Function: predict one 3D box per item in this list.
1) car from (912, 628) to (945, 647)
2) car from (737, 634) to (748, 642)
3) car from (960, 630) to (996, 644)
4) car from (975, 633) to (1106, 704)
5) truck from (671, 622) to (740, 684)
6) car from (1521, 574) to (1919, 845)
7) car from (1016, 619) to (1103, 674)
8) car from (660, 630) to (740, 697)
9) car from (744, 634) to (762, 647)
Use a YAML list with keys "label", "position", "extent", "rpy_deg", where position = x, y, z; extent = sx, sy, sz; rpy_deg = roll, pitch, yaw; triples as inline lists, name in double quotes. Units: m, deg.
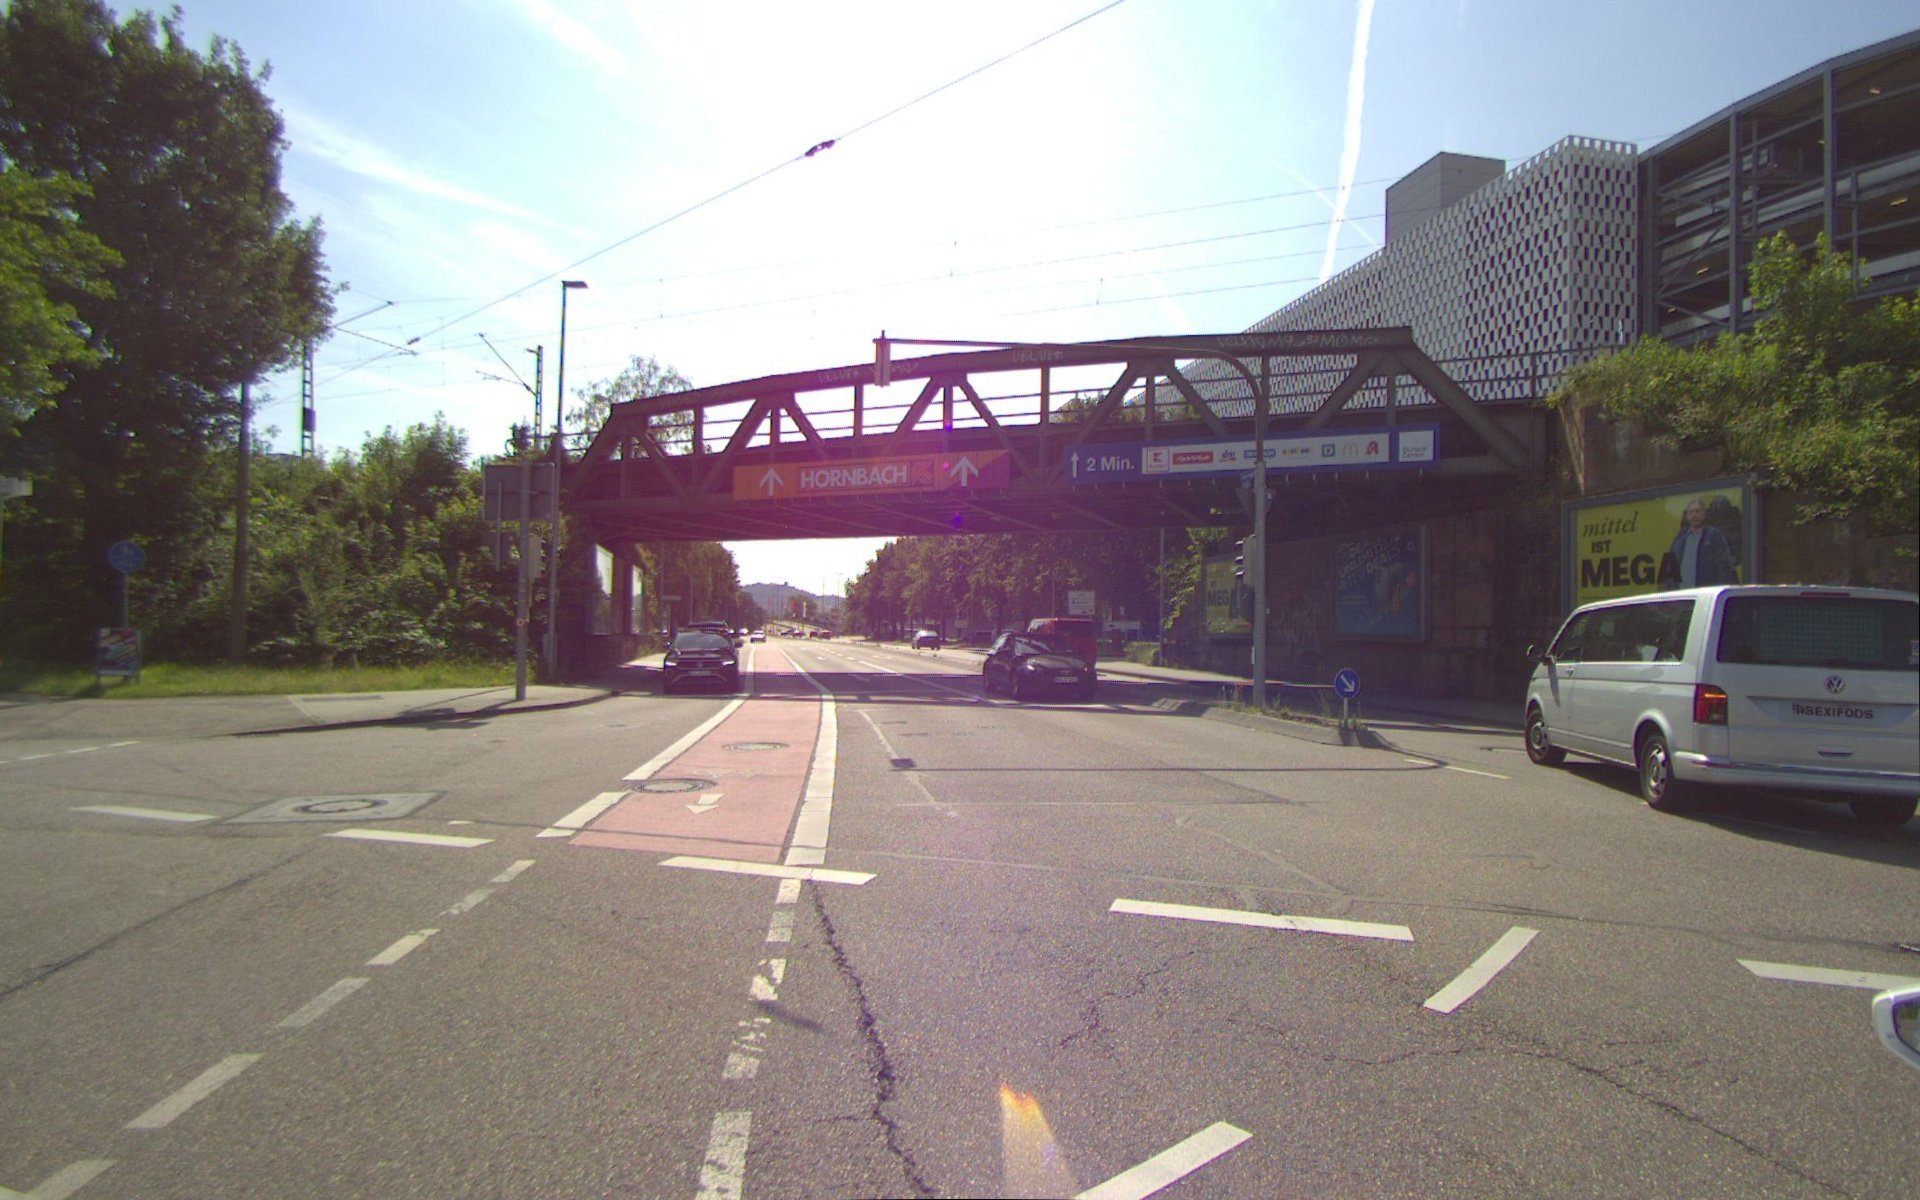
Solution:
- label: "car"
  position: [-2.497, 2.925, 78.299]
  extent: [1.762, 1.415, 4.314]
  rpy_deg: [1, -2, -13]
- label: "car"
  position: [-42.840, 7.462, 197.721]
  extent: [1.942, 1.512, 4.070]
  rpy_deg: [1, -2, -15]
- label: "car"
  position: [1.944, 4.082, 111.323]
  extent: [3.744, 1.434, 1.699]
  rpy_deg: [1, -2, -11]
- label: "car"
  position: [1.693, 1.473, 22.654]
  extent: [1.741, 1.413, 4.325]
  rpy_deg: [1, -2, -13]
- label: "truck"
  position: [-8.405, 1.697, 33.519]
  extent: [1.997, 1.844, 5.313]
  rpy_deg: [-1, -1, -12]
- label: "car"
  position: [7.359, 0.903, 10.004]
  extent: [1.909, 1.997, 5.025]
  rpy_deg: [1, -2, 15]
- label: "car"
  position: [3.715, 1.734, 38.364]
  extent: [1.941, 1.950, 4.549]
  rpy_deg: [1, -2, -13]
- label: "car"
  position: [-6.516, 1.543, 25.478]
  extent: [1.791, 1.500, 3.935]
  rpy_deg: [-1, -1, -12]
- label: "car"
  position: [-25.412, 4.937, 123.302]
  extent: [1.942, 1.512, 4.070]
  rpy_deg: [1, -2, -15]
